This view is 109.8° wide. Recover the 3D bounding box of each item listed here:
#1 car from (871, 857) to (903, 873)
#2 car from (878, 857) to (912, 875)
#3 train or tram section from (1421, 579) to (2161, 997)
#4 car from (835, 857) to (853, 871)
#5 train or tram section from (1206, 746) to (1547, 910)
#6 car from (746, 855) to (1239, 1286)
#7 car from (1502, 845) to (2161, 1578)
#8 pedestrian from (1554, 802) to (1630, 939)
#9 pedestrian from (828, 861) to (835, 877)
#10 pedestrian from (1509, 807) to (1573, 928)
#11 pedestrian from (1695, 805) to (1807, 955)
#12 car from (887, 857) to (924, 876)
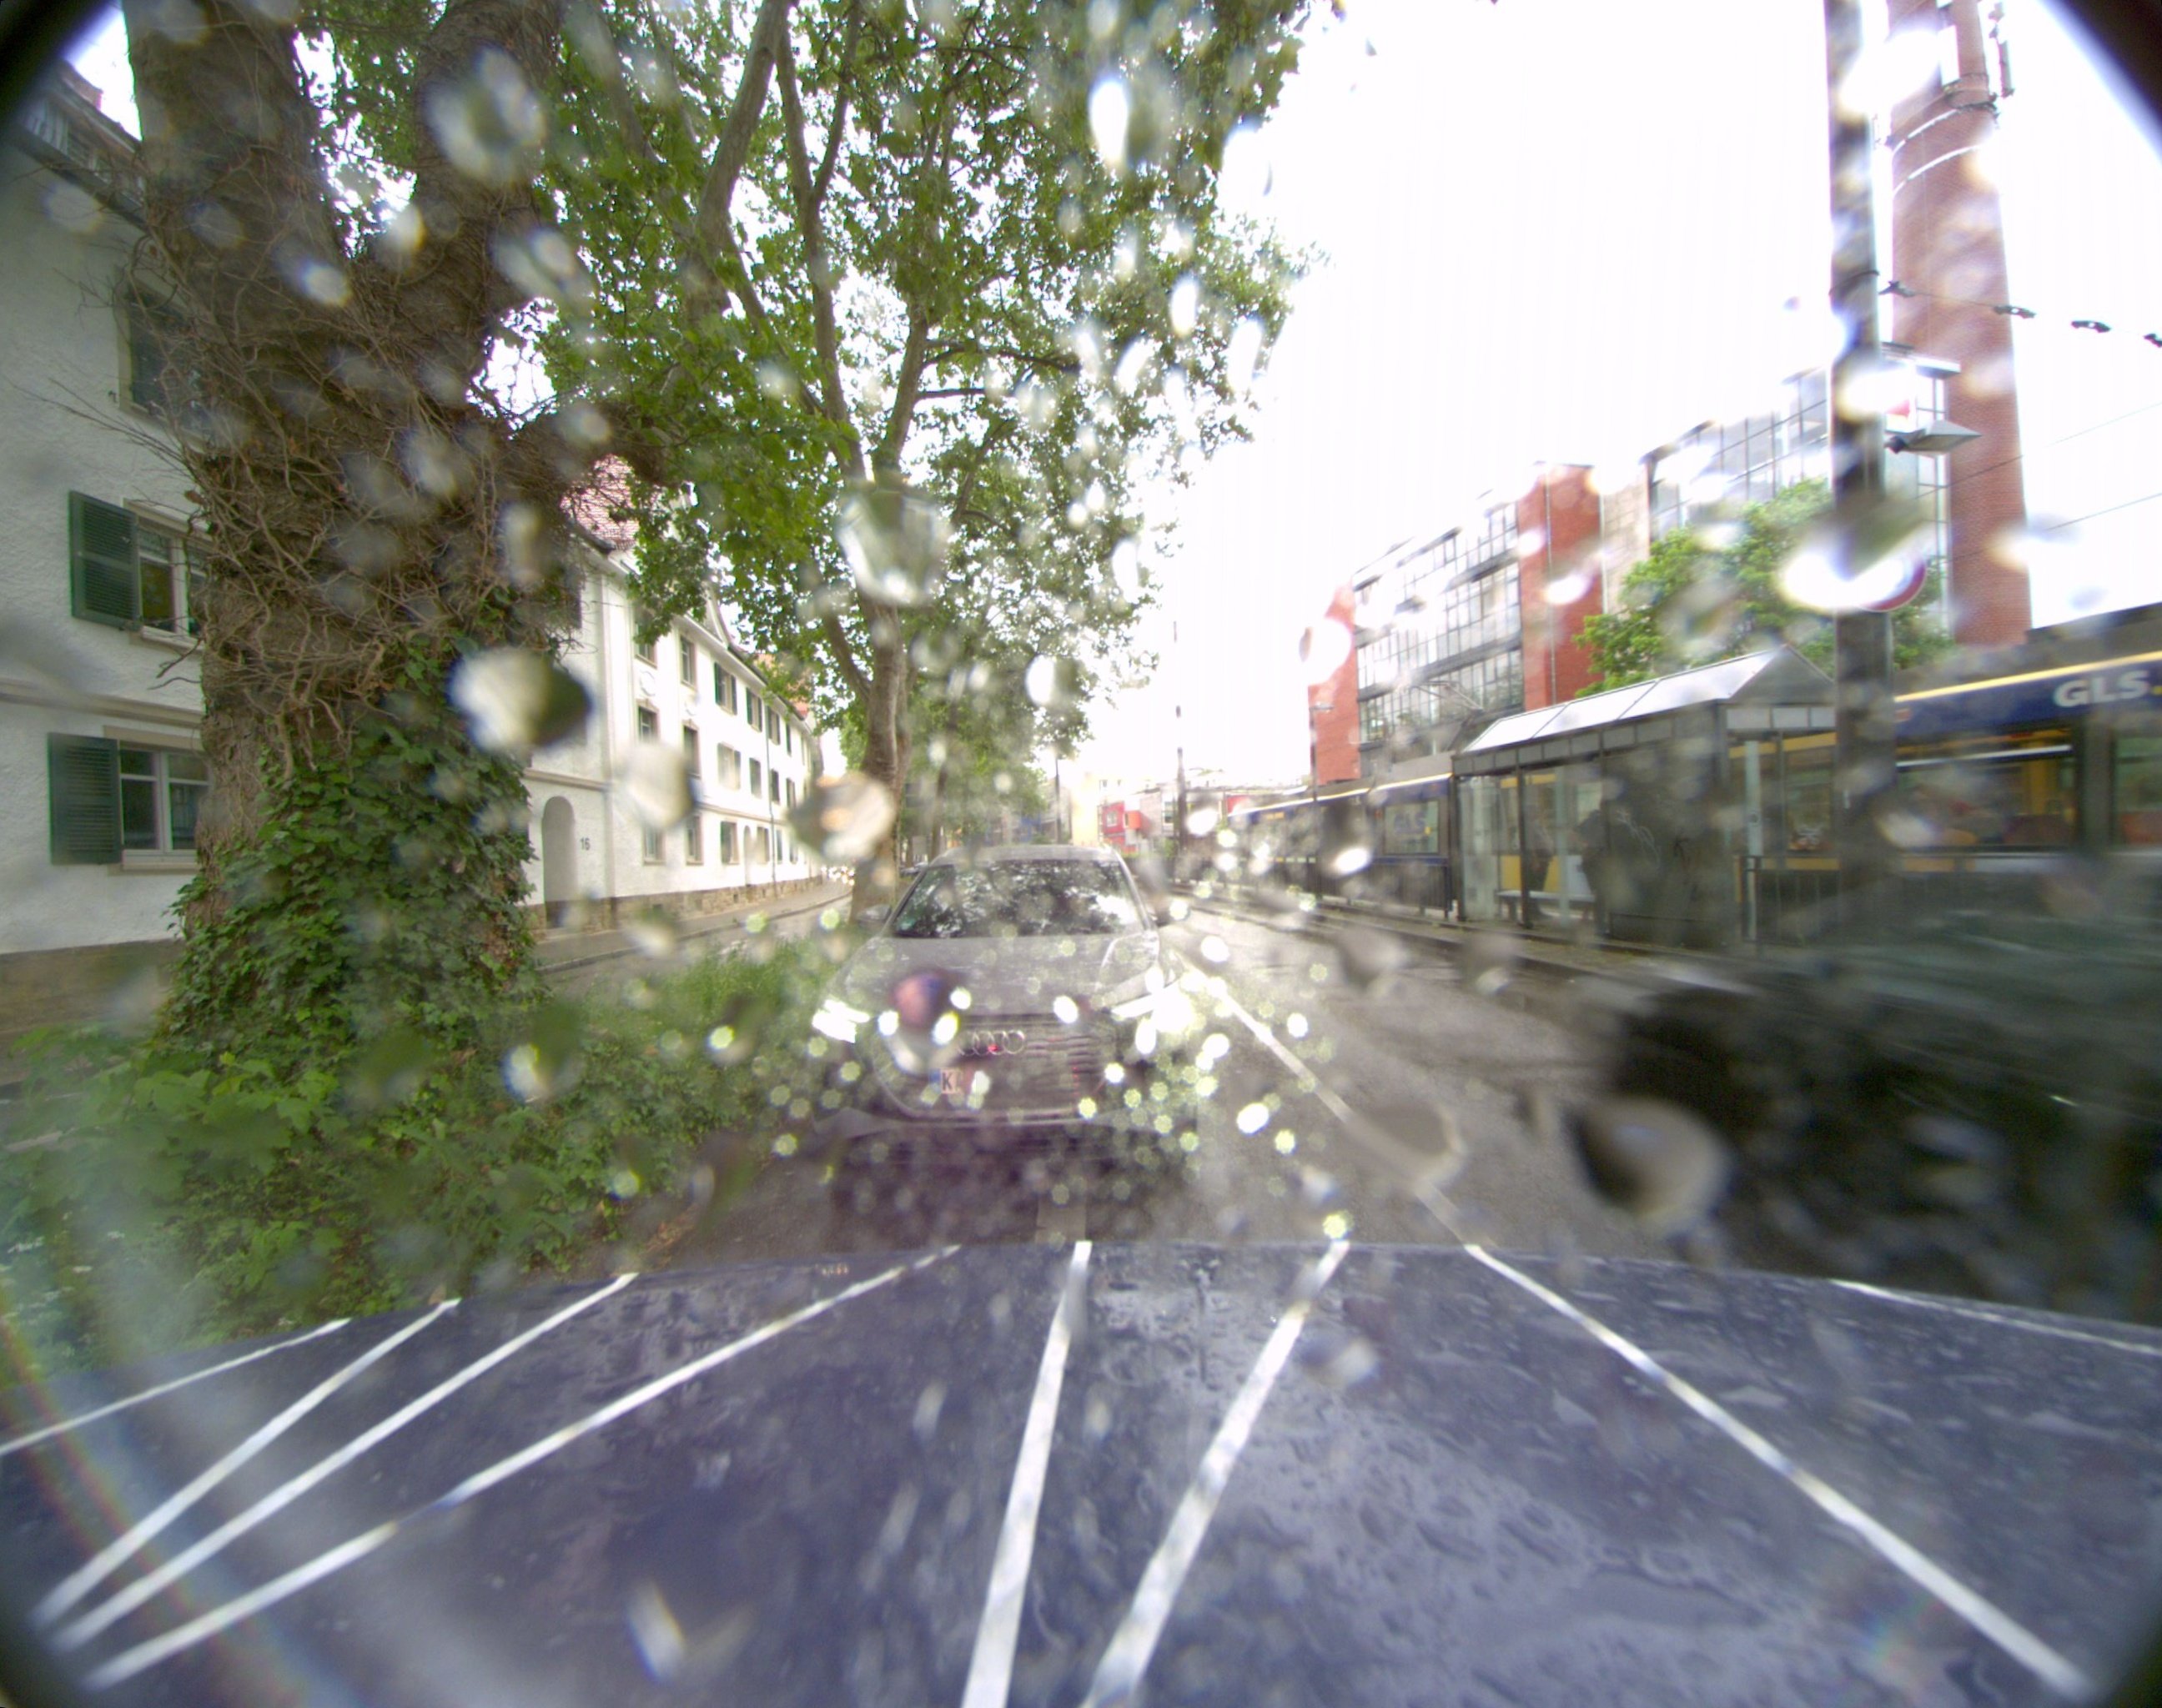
[{"bbox_3d":[-26.661,1.540,104.362,4.002,2.002,1.997,-2,0,-17],"label":"car"},{"bbox_3d":[-23.204,1.504,94.658,4.002,2.002,1.997,-2,0,-17],"label":"car"},{"bbox_3d":[9.972,-0.599,9.983,2.869,3.525,13.704,-2,0,-9],"label":"train or tram section"},{"bbox_3d":[-41.733,1.769,133.734,2.199,2.250,5.401,-3,0,-24],"label":"car"},{"bbox_3d":[7.847,-0.595,24.403,2.869,3.525,15.361,-2,0,-8],"label":"train or tram section"},{"bbox_3d":[-0.408,0.870,5.119,1.917,1.632,4.106,-2,0,-2],"label":"car"},{"bbox_3d":[3.232,0.778,2.111,1.756,1.582,4.234,-1,0,0],"label":"car"},{"bbox_3d":[6.739,0.214,10.044,0.629,1.738,0.564,-2,1,9],"label":"pedestrian"},{"bbox_3d":[-29.136,1.712,88.863,0.674,1.811,0.678,-3,1,-18],"label":"pedestrian"},{"bbox_3d":[6.810,0.195,11.260,0.629,1.738,0.514,-2,1,9],"label":"pedestrian"},{"bbox_3d":[7.336,0.284,8.337,0.798,1.588,0.506,0,-2,-10],"label":"pedestrian"},{"bbox_3d":[-20.232,1.469,87.564,4.002,2.002,1.997,-2,0,-17],"label":"car"}]
